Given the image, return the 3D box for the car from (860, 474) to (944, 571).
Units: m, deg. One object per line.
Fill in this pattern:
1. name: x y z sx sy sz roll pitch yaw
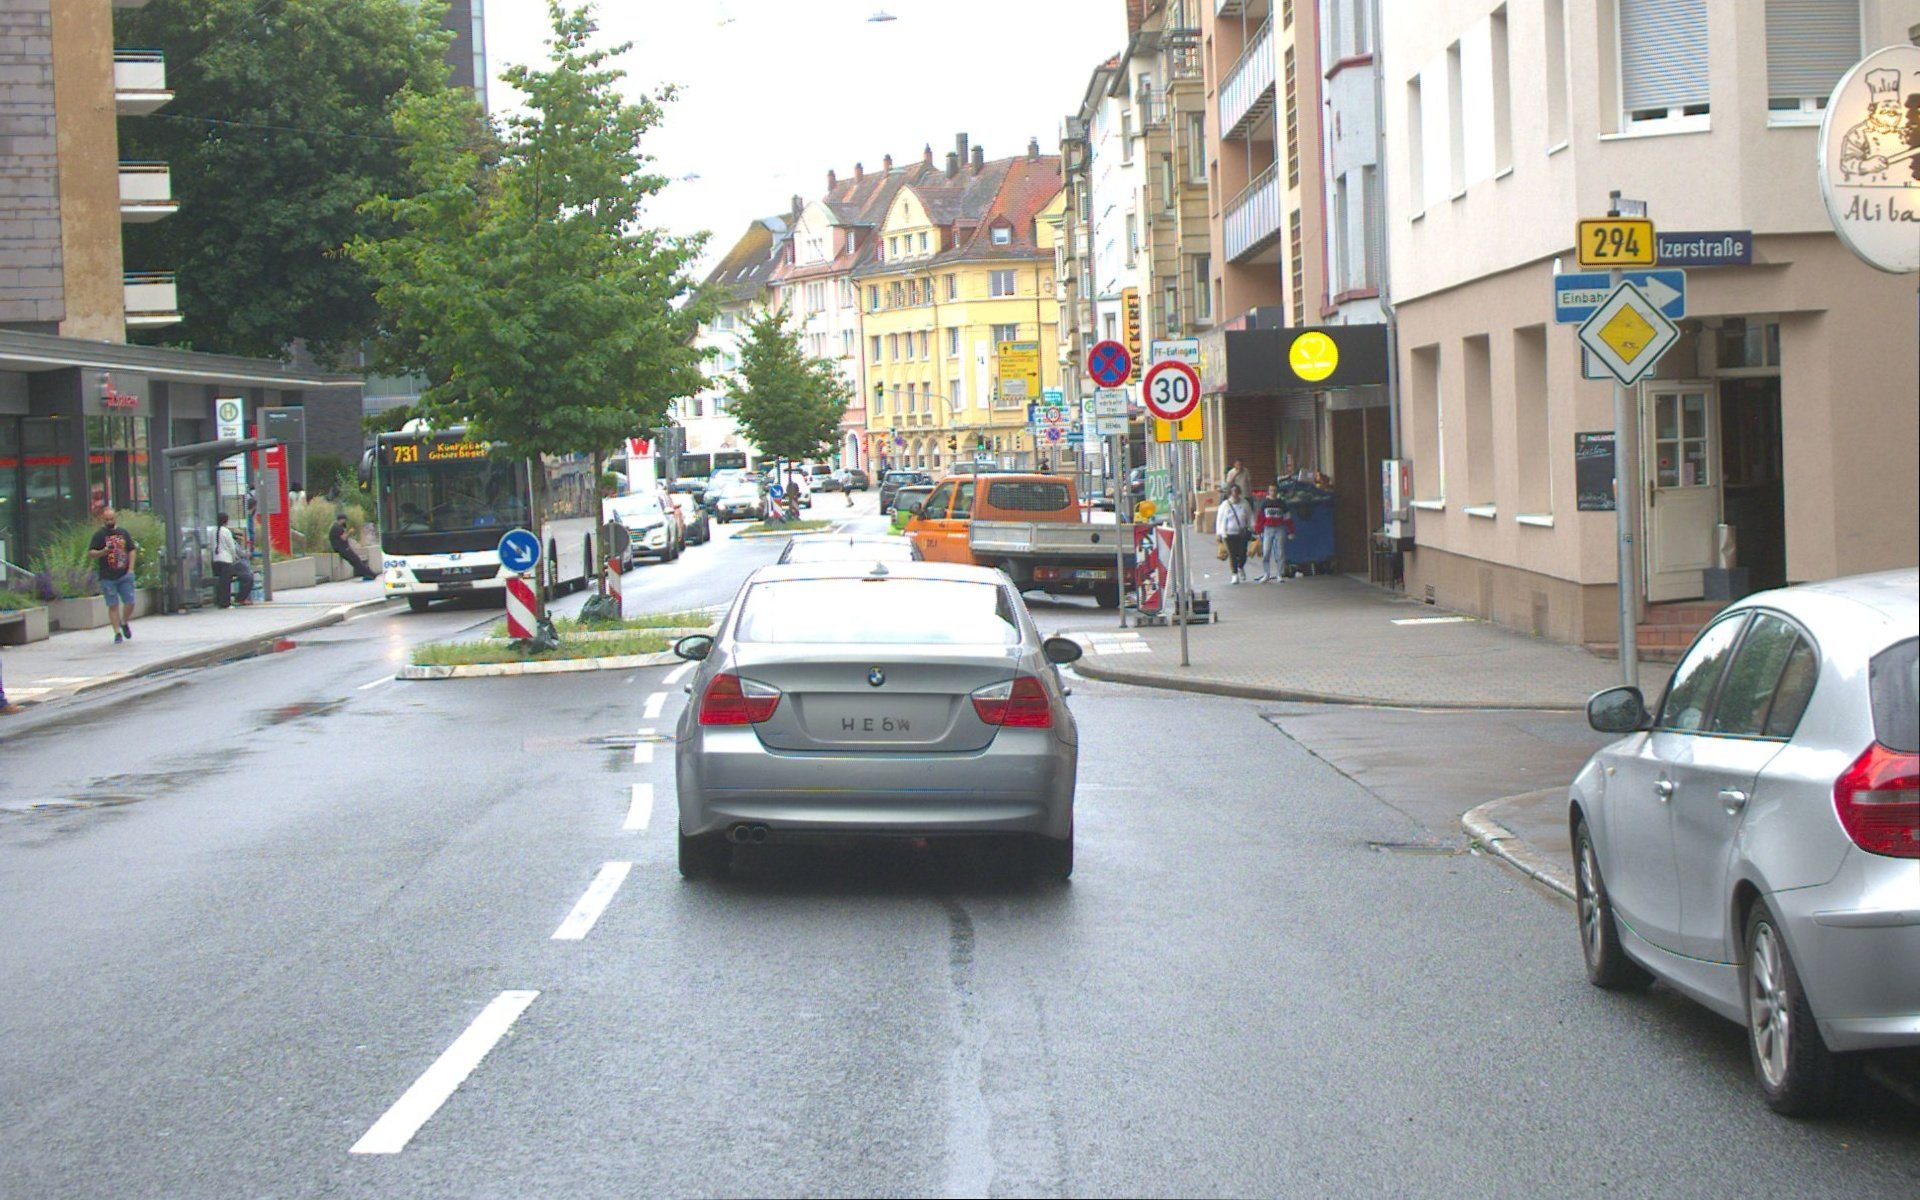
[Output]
1. car: -1.282 -1.651 74.740 1.705 2.007 4.000 1 0 -2

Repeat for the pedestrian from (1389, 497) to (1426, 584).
1. pedestrian: 6.311 -0.839 48.490 0.412 1.199 0.357 -4 2 3

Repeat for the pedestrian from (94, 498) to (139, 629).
1. pedestrian: -11.627 -0.504 47.399 0.542 1.783 0.466 1 0 -9

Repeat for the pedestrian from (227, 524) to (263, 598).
1. pedestrian: -11.966 -0.649 57.513 0.465 1.226 0.544 1 0 1

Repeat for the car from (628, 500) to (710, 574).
1. car: -8.200 -1.759 97.144 1.993 2.007 4.000 1 0 -1

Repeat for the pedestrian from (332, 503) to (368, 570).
1. pedestrian: -12.694 -1.318 71.569 0.619 1.373 0.544 1 0 1

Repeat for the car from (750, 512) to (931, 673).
1. car: -1.139 -0.073 32.491 1.601 1.415 3.288 1 0 -2

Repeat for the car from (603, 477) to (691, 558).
1. car: -8.222 -2.150 90.628 1.993 2.007 4.000 1 0 -1

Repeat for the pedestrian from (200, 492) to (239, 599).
1. pedestrian: -11.973 -0.878 55.599 0.543 1.703 0.466 1 0 -6

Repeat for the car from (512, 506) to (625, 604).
1. car: -8.351 -0.950 73.555 1.993 2.007 4.000 1 0 -1

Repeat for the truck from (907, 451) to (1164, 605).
1. truck: 1.053 -1.069 51.033 2.215 2.109 4.654 2 1 -20

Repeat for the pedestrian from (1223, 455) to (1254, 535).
1. pedestrian: 5.858 -2.203 72.274 0.615 1.655 0.754 1 0 6

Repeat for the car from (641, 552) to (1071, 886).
1. car: -0.433 0.481 15.684 1.756 1.358 3.165 0 0 0

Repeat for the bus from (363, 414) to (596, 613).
1. bus: -8.418 -1.428 61.674 2.681 3.189 11.956 1 0 -1

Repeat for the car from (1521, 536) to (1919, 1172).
1. car: 2.842 0.575 10.384 1.569 1.459 4.089 -3 1 0

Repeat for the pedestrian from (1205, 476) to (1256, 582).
1. pedestrian: 4.284 -1.123 54.441 0.749 1.655 0.836 1 0 6

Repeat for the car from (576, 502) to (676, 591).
1. car: -7.793 -1.226 80.447 1.993 2.007 4.000 1 0 -1

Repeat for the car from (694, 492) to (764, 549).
1. car: -8.634 -2.965 128.634 1.994 2.007 3.999 1 0 5

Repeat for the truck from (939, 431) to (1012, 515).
1. truck: 0.483 -4.125 112.568 2.216 2.535 4.780 1 0 -1

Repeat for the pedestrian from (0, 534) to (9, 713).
1. pedestrian: -9.400 0.218 32.961 0.464 1.703 0.545 1 0 -20

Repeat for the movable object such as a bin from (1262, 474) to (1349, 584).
1. movable object such as a bin: 5.550 -1.133 55.242 1.122 1.697 1.434 -3 0 -2

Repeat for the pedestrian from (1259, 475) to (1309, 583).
1. pedestrian: 5.058 -1.102 53.638 0.750 1.655 0.754 1 0 6

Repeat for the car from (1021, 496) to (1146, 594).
1. car: 1.972 -0.907 55.848 1.809 1.514 4.000 0 1 -1
